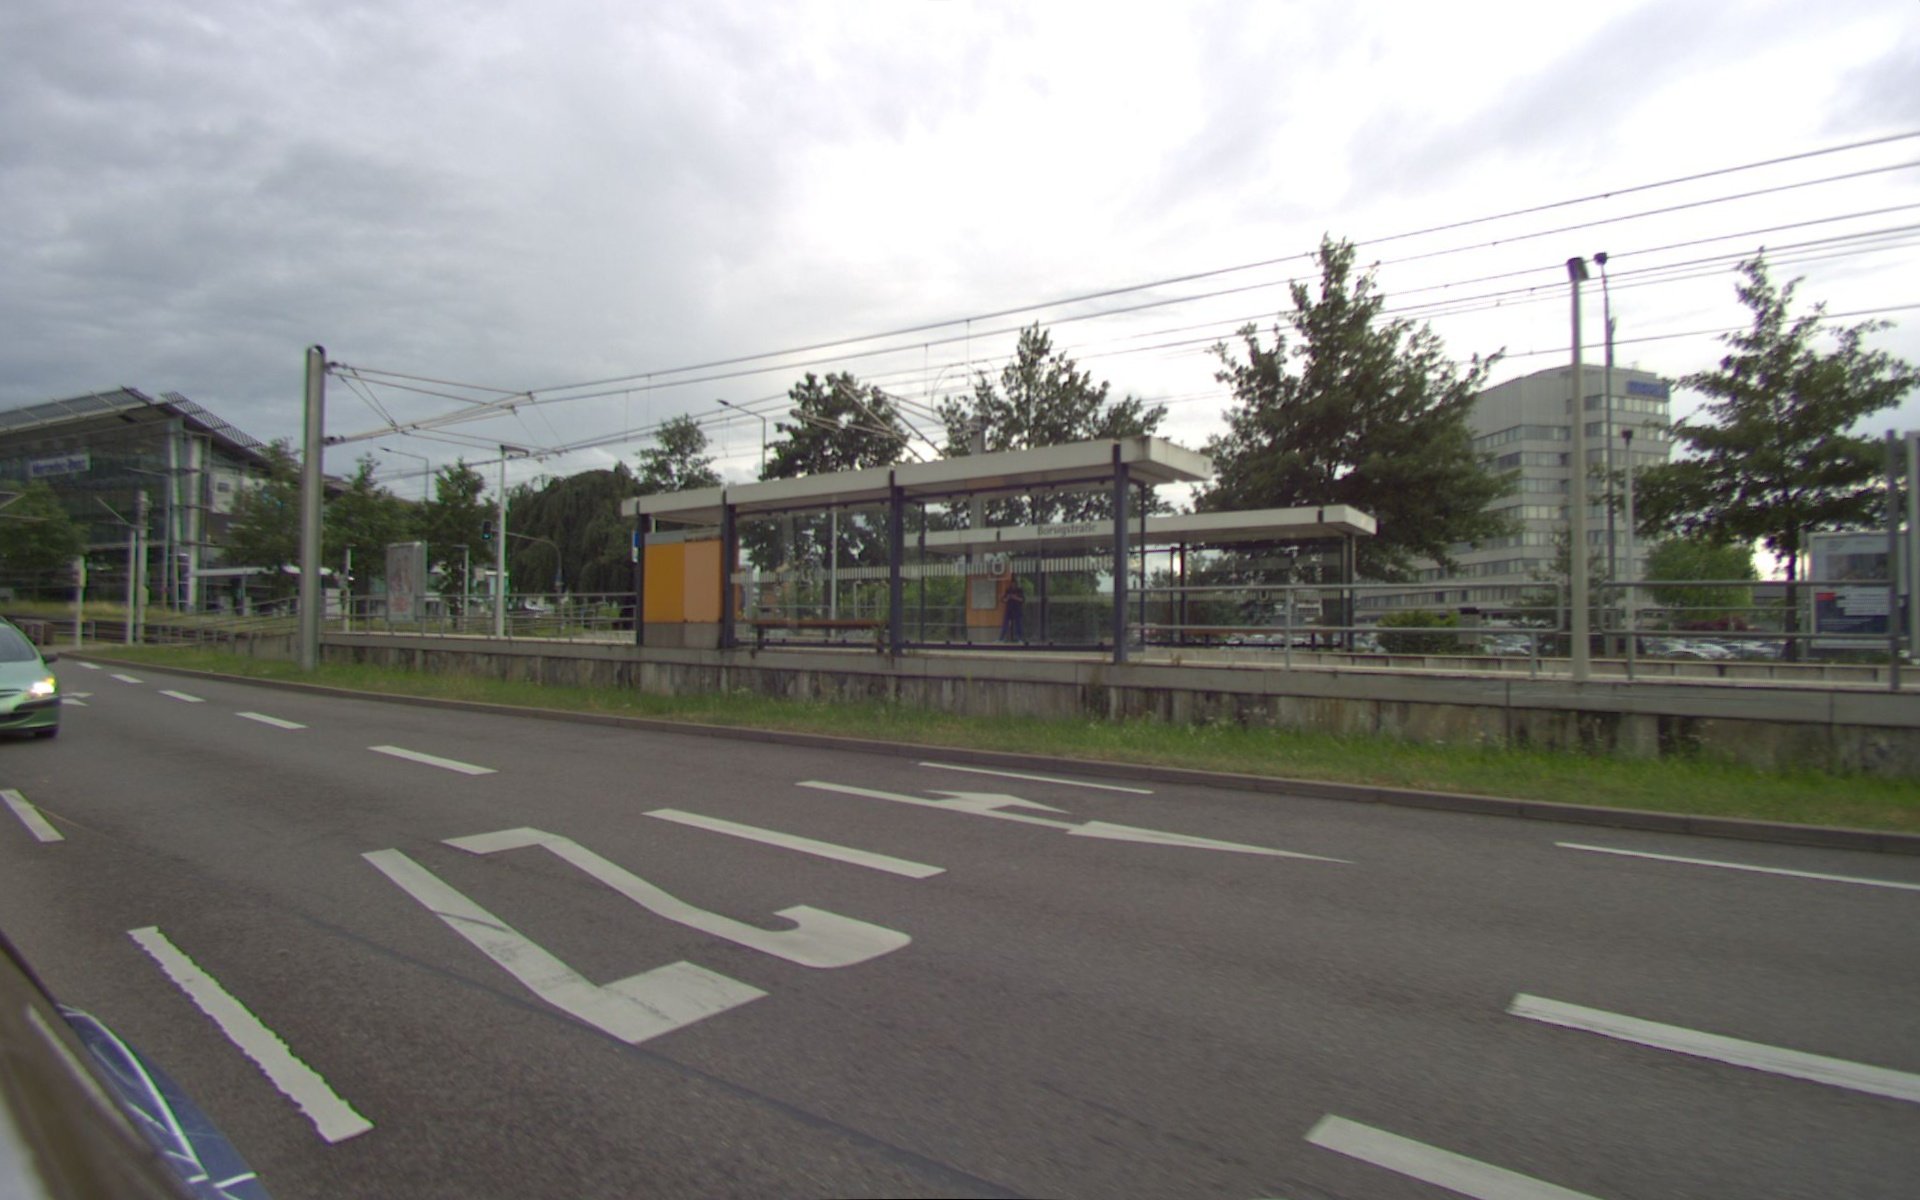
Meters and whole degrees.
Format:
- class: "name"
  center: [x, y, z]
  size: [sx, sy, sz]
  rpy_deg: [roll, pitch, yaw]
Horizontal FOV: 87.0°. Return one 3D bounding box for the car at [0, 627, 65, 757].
- class: "car"
  center: [-12.910, 1.099, 12.830]
  size: [4.399, 1.479, 1.678]
  rpy_deg: [-1, -1, 40]
